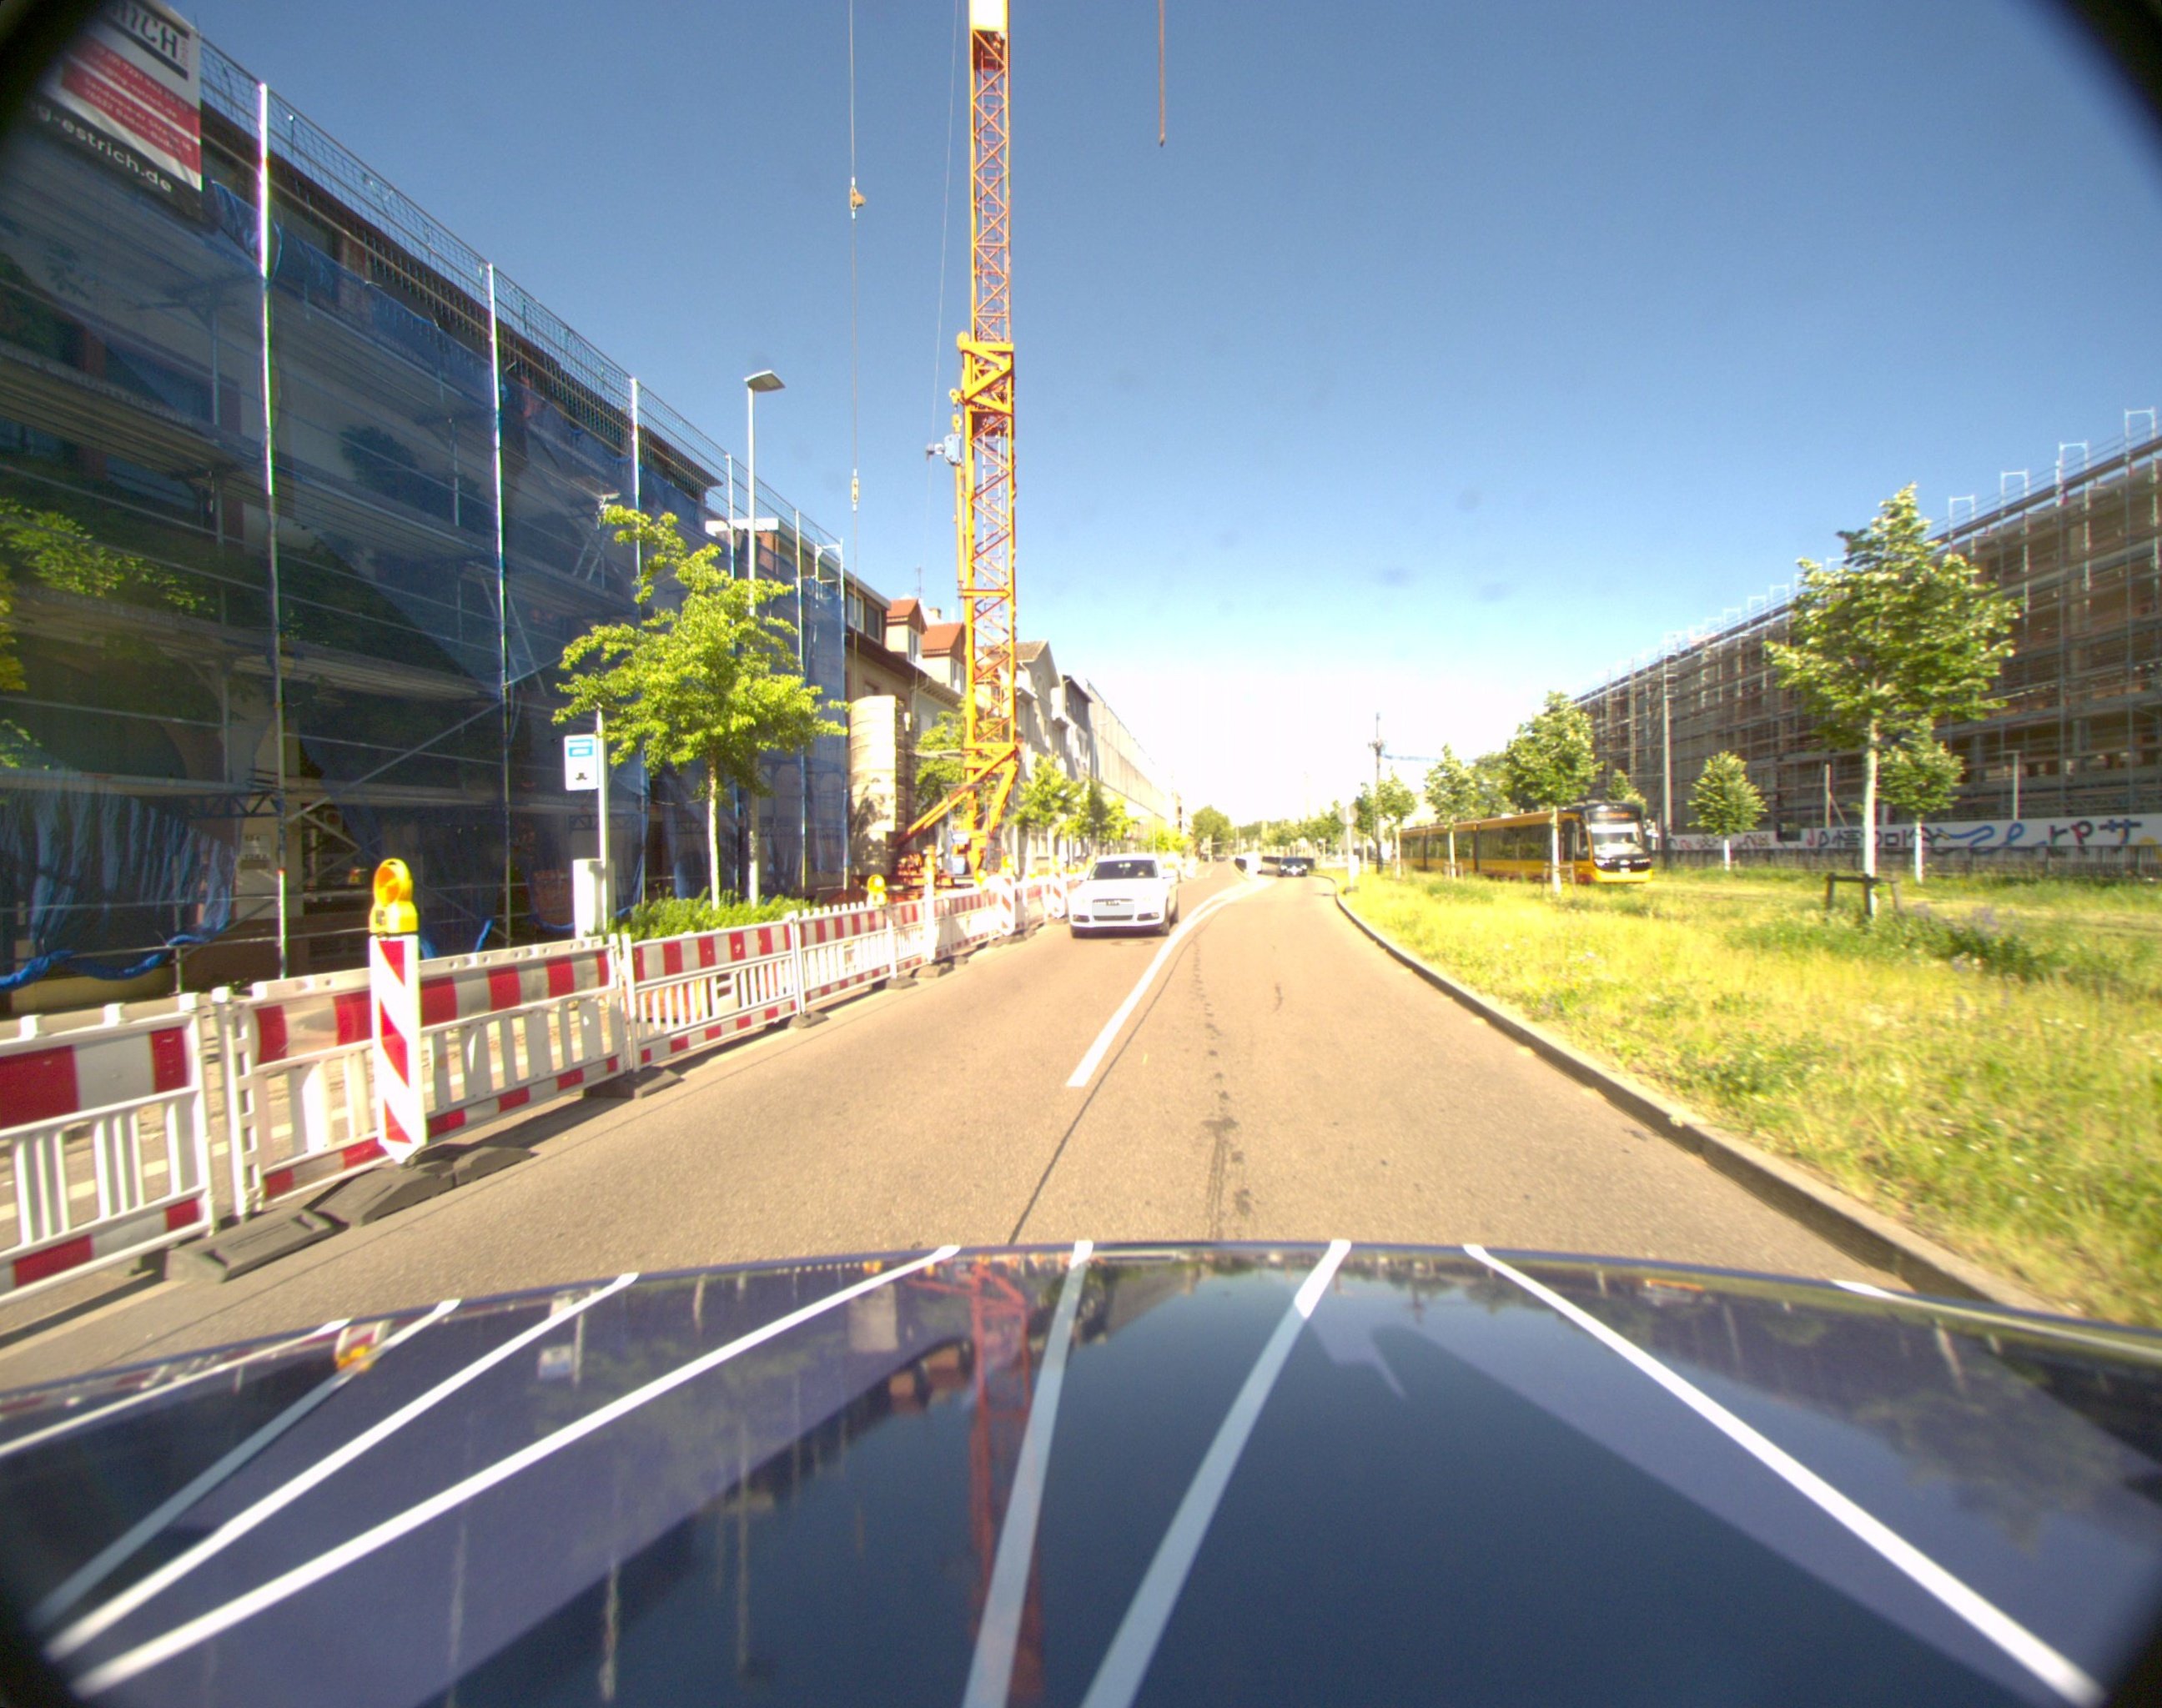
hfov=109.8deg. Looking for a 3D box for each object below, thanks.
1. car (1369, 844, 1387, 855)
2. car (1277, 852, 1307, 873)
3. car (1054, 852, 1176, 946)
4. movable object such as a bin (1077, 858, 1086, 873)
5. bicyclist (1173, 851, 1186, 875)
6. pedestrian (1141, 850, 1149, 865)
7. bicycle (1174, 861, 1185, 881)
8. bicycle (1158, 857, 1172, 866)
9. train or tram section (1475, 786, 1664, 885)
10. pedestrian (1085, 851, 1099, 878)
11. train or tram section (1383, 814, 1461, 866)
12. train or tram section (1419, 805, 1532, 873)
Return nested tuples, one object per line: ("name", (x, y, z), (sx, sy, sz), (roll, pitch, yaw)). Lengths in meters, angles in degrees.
("car", (58.043, -0.873, 148.570), (2.336, 2.146, 4.400), (-1, 0, 11))
("car", (15.441, 0.618, 55.713), (1.926, 1.435, 4.181), (-1, 0, 13))
("car", (0.861, 0.831, 15.841), (1.932, 1.624, 4.003), (-3, 0, 11))
("movable object such as a bin", (0.041, 0.884, 58.653), (0.589, 1.101, 0.704), (-2, 0, 12))
("bicyclist", (6.170, 0.572, 47.788), (0.755, 1.454, 0.587), (-2, 1, 6))
("pedestrian", (8.221, 0.481, 97.658), (0.876, 1.914, 0.896), (1, 3, 11))
("bicycle", (6.187, 1.054, 47.839), (0.610, 1.144, 1.988), (-1, 1, 6))
("bicycle", (10.966, 0.989, 99.282), (1.739, 1.056, 0.467), (1, 0, -5))
("train or tram section", (21.421, -0.745, 34.588), (2.820, 3.617, 12.799), (-1, 1, 12))
("pedestrian", (0.791, 0.738, 54.970), (0.796, 1.917, 0.769), (-2, 0, -11))
("train or tram section", (26.444, -1.052, 59.652), (2.820, 3.617, 12.799), (-1, 1, 12))
("train or tram section", (23.983, -0.883, 47.113), (2.820, 3.617, 12.799), (-1, 1, 12))
